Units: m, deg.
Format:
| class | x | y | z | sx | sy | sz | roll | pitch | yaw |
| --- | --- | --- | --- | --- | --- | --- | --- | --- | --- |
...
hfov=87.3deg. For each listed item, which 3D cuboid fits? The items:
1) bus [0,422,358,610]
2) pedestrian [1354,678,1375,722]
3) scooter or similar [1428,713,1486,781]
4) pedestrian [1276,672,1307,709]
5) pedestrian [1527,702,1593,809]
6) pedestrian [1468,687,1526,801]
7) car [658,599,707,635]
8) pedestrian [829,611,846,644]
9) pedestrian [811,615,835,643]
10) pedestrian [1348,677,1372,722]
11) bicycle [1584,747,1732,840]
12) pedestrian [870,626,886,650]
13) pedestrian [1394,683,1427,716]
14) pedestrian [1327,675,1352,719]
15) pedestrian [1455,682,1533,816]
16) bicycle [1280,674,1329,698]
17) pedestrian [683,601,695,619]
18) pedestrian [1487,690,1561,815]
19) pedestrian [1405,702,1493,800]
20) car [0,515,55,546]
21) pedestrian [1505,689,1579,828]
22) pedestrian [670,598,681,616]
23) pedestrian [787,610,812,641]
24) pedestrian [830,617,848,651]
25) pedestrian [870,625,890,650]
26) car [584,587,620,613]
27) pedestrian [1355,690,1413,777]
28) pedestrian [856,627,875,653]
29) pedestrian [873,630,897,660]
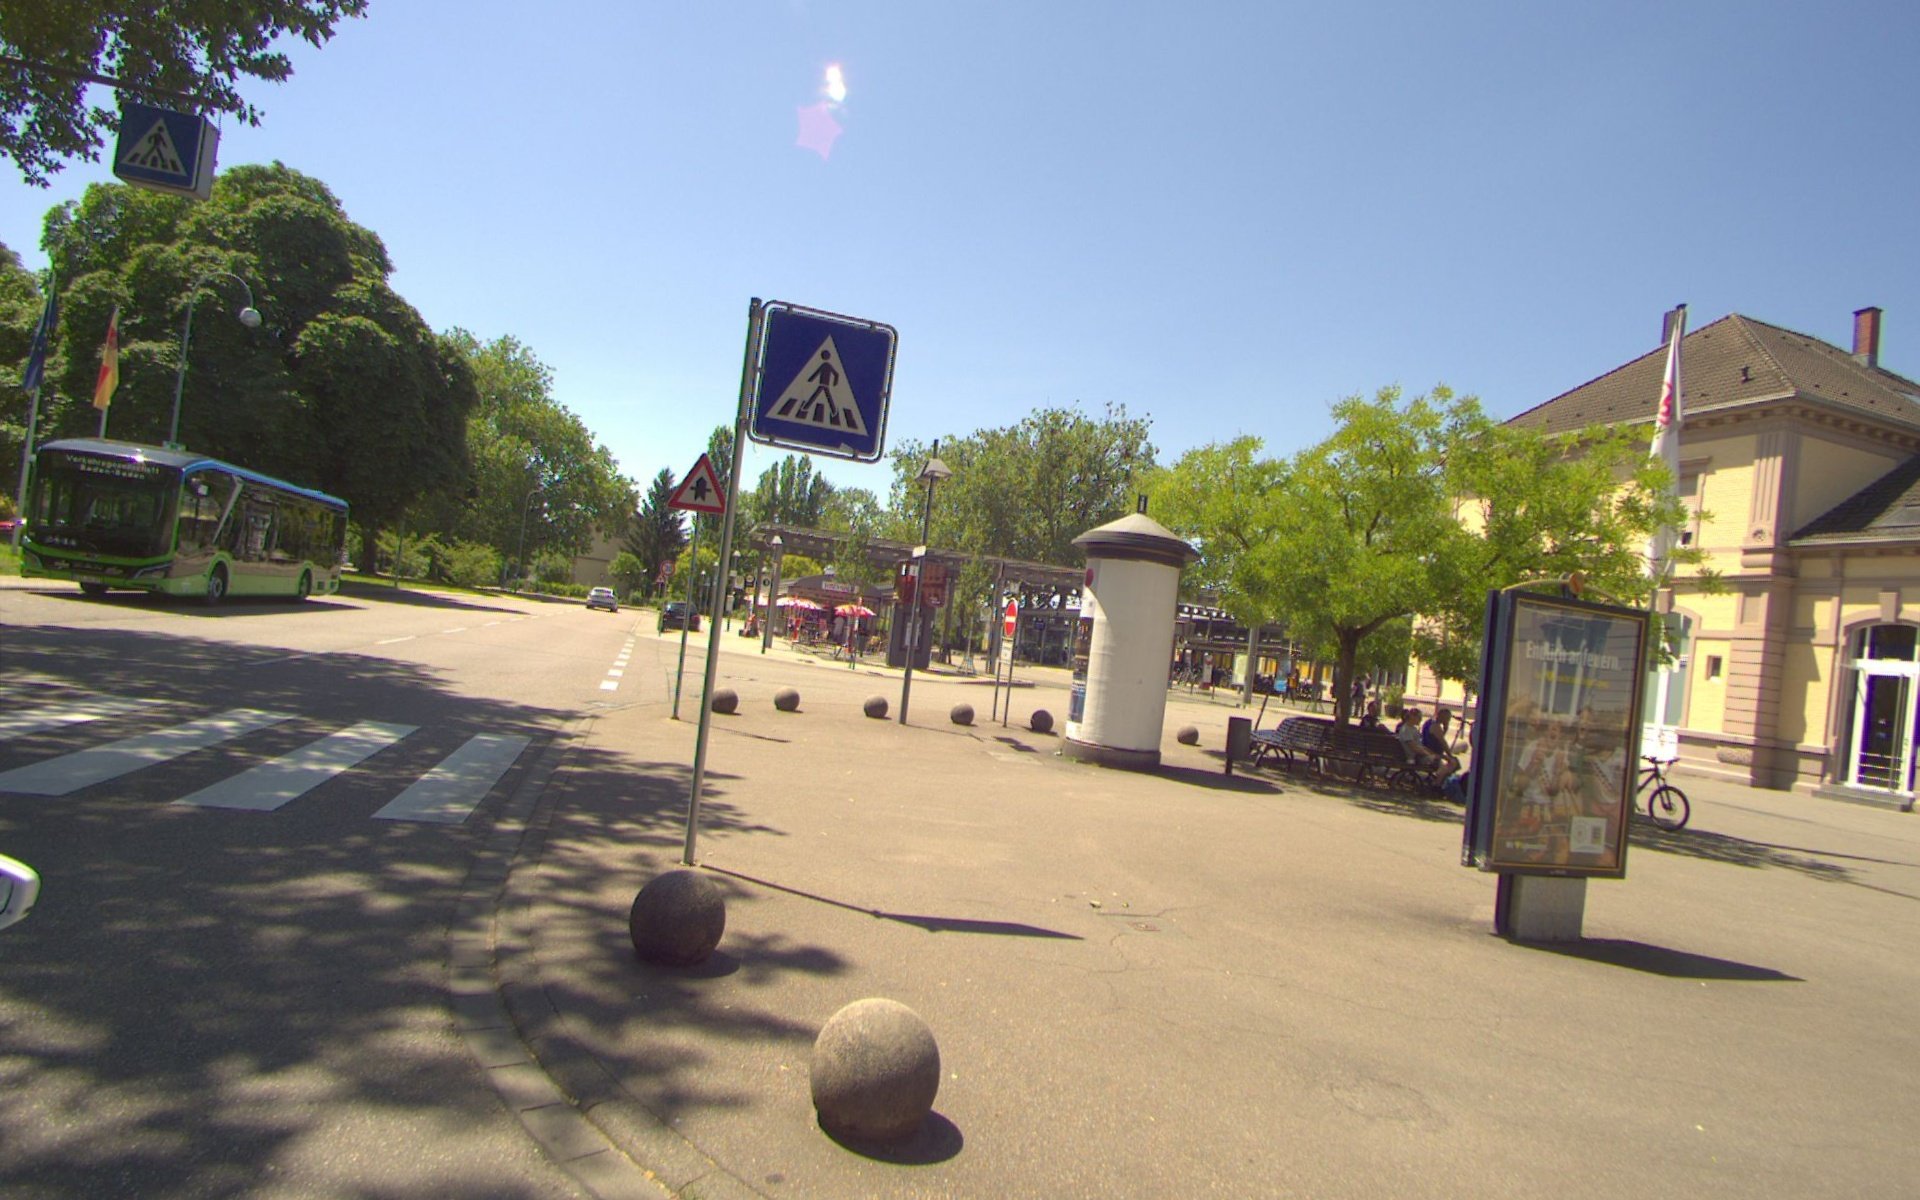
| class | x | y | z | sx | sy | sz | roll | pitch | yaw |
| --- | --- | --- | --- | --- | --- | --- | --- | --- | --- |
| bus | -18.977 | -1.674 | 25.881 | 2.776 | 3.321 | 12.384 | 7 | -2 | -17 |
| pedestrian | 17.712 | 4.366 | 44.071 | 0.541 | 1.831 | 0.498 | 7 | 0 | 3 |
| scooter or similar | 9.207 | 2.727 | 18.631 | 1.015 | 1.152 | 0.293 | 7 | -1 | -25 |
| pedestrian | 15.991 | 4.361 | 48.522 | 0.913 | 1.609 | 0.852 | 7 | -1 | -23 |
| pedestrian | 10.224 | 2.643 | 17.144 | 0.612 | 1.705 | 0.586 | 7 | -1 | -29 |
| pedestrian | 8.771 | 2.340 | 16.426 | 0.563 | 1.760 | 0.509 | 6 | -1 | 44 |
| car | -13.047 | 0.768 | 47.110 | 1.903 | 1.478 | 4.709 | 5 | -1 | -18 |
| pedestrian | -6.870 | 1.537 | 56.446 | 0.678 | 1.758 | 0.705 | 7 | -1 | -17 |
| pedestrian | -7.217 | 1.508 | 52.831 | 0.678 | 1.328 | 0.892 | 6 | -1 | 38 |
| pedestrian | 17.275 | 4.304 | 43.470 | 0.620 | 1.831 | 0.596 | 7 | 0 | 4 |
| bicycle | 10.842 | 2.983 | 15.712 | 0.415 | 1.072 | 1.941 | 7 | -2 | -19 |
| pedestrian | -4.521 | 2.109 | 55.579 | 0.645 | 1.218 | 0.593 | 9 | -2 | -2 |
| pedestrian | 20.726 | 4.573 | 46.255 | 1.043 | 1.369 | 0.967 | 5 | -2 | -38 |
| pedestrian | 16.423 | 4.199 | 43.588 | 0.677 | 1.831 | 0.632 | 7 | -1 | 4 |
| pedestrian | 7.581 | 2.114 | 14.276 | 0.688 | 1.784 | 0.579 | 7 | -1 | -37 |
| bicycle | 21.127 | 5.278 | 61.726 | 2.758 | 1.014 | 0.963 | 10 | -3 | -19 |
| pedestrian | -28.212 | 1.038 | 104.689 | 0.708 | 1.667 | 0.752 | 7 | -3 | 11 |
| pedestrian | 8.537 | 2.299 | 15.232 | 0.577 | 1.760 | 0.596 | 7 | -1 | -24 |
| pedestrian | 7.859 | 2.408 | 16.161 | 0.931 | 1.402 | 0.908 | 6 | -1 | 43 |
| car | -75.831 | -5.626 | 81.252 | 1.844 | 1.857 | 4.000 | 9 | -3 | -6 |
| pedestrian | 7.858 | 2.129 | 13.578 | 0.624 | 1.760 | 0.541 | 7 | -1 | -43 |
| pedestrian | -28.980 | 0.716 | 102.478 | 0.625 | 1.667 | 0.752 | 7 | -3 | 11 |
| pedestrian | -8.110 | 1.309 | 50.881 | 0.678 | 1.434 | 0.892 | 6 | -1 | 35 |
| pedestrian | -6.608 | 1.853 | 55.041 | 0.678 | 1.757 | 0.705 | 8 | -2 | -17 |
| pedestrian | -4.206 | 1.990 | 53.102 | 0.750 | 1.218 | 0.735 | 9 | -2 | -17 |
| car | -26.005 | -0.020 | 73.216 | 1.959 | 1.646 | 4.764 | 7 | -1 | -16 |
| pedestrian | 7.253 | 2.282 | 17.210 | 0.592 | 1.381 | 0.596 | 7 | 0 | 44 |
| pedestrian | -4.647 | 1.951 | 49.341 | 0.677 | 1.174 | 0.893 | 7 | -1 | -13 |
| pedestrian | -3.545 | 2.097 | 47.451 | 0.834 | 1.292 | 0.893 | 7 | -1 | -13 |
